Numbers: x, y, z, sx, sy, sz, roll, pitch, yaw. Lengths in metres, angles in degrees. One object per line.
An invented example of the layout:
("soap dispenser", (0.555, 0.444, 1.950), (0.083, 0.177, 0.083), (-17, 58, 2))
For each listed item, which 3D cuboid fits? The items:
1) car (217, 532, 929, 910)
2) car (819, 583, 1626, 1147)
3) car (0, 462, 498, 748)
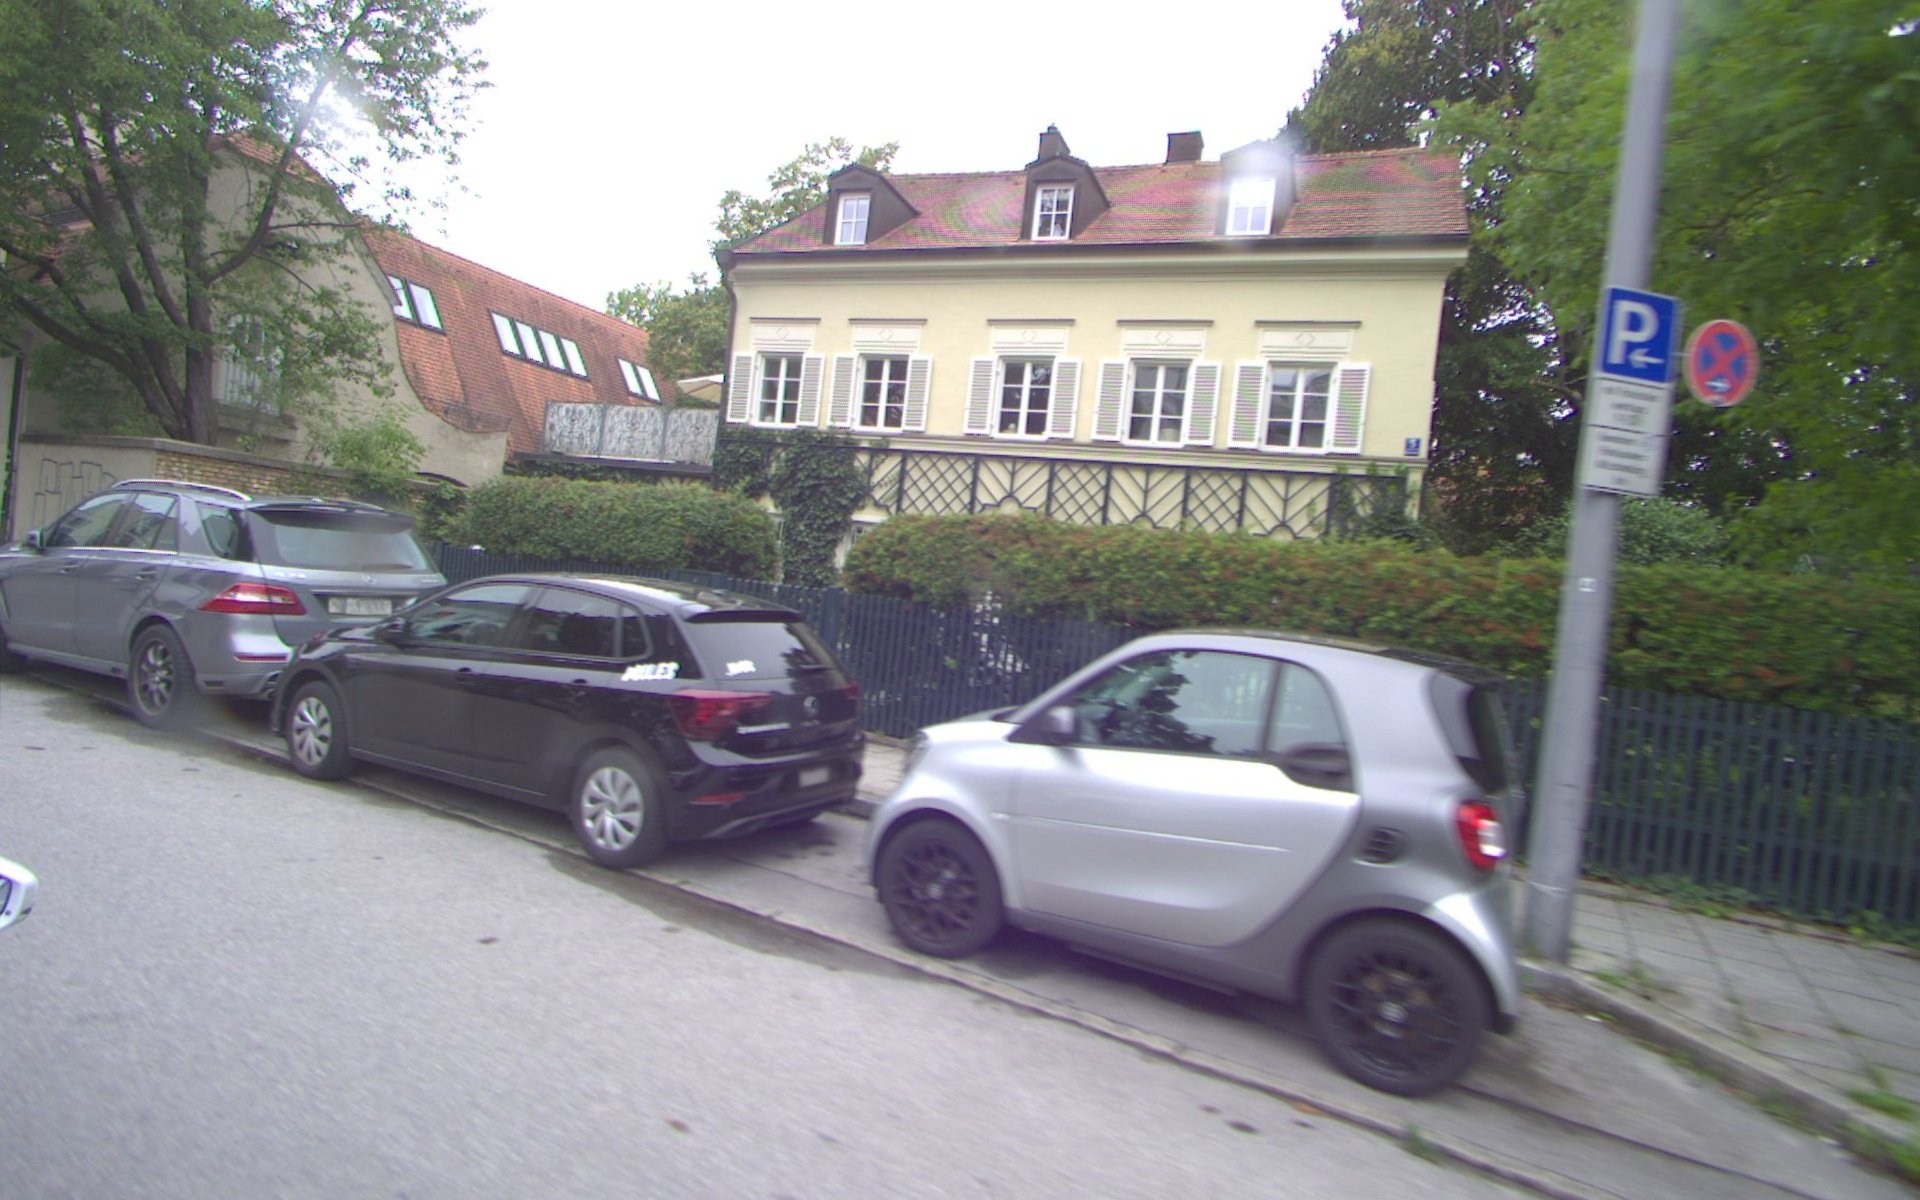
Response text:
("car", (-2.518, 0.532, 6.434), (4.147, 1.446, 1.879), (7, 2, 27))
("car", (1.107, 0.857, 4.604), (2.894, 1.556, 1.741), (6, 2, 27))
("car", (-6.494, -0.115, 8.584), (4.798, 1.734, 1.996), (7, 2, 27))
